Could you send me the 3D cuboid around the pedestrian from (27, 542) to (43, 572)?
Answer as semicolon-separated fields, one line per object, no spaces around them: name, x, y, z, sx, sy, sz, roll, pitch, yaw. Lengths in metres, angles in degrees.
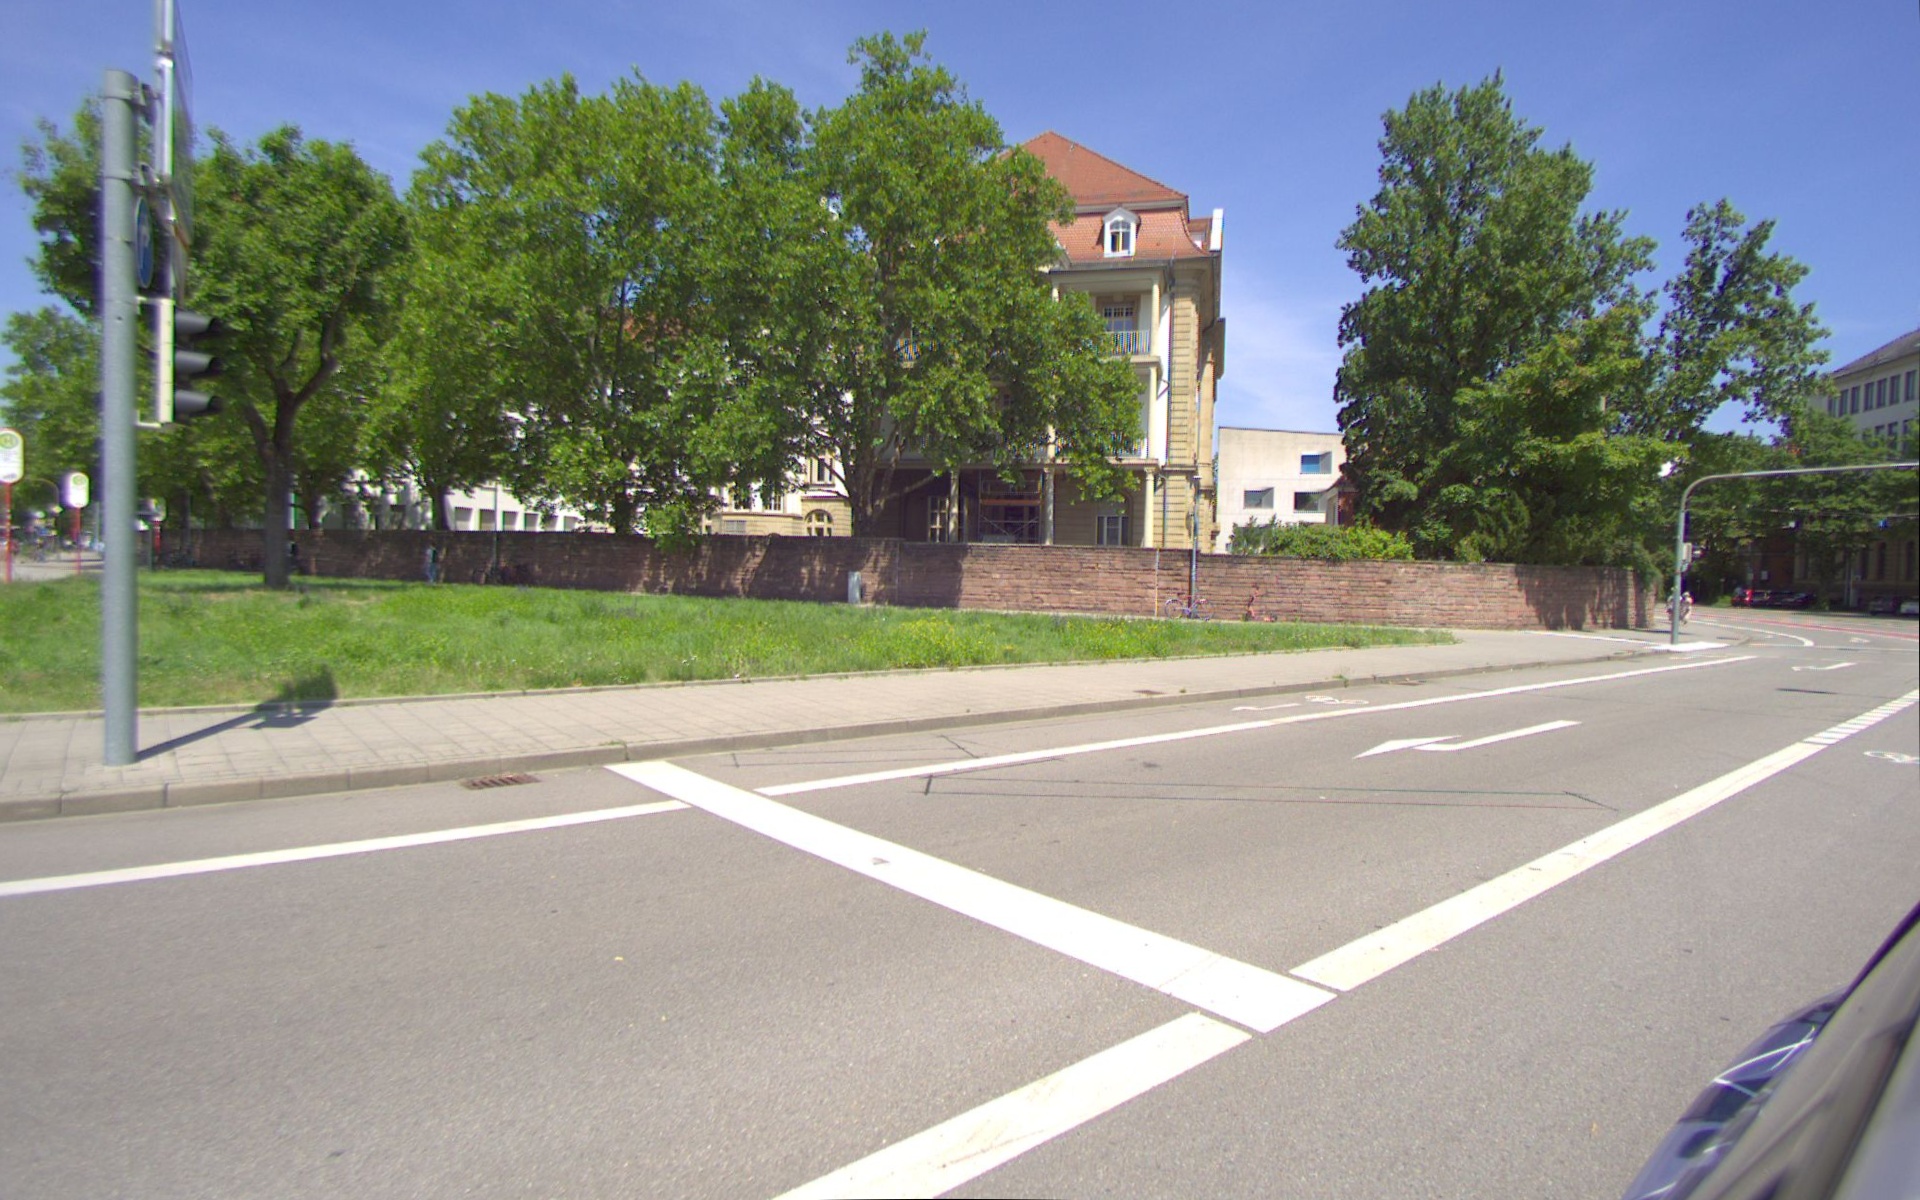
pedestrian;-64.993;-3.025;71.112;0.775;2.039;0.839;0;0;-40

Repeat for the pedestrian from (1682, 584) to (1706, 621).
pedestrian;32.832;0.099;45.287;0.597;1.631;0.555;4;1;18

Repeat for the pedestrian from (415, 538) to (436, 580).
pedestrian;-22.350;-1.698;42.335;0.521;1.743;0.584;0;0;25

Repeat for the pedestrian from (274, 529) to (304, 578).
pedestrian;-32.042;-2.199;48.312;1.067;2.320;0.840;0;0;32

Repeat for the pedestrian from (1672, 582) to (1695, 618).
pedestrian;33.605;0.005;47.000;0.597;1.631;0.555;4;1;18

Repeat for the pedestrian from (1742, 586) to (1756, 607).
pedestrian;65.182;-0.301;83.620;0.715;1.691;0.640;2;2;20

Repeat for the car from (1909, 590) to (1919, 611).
car;65.255;0.027;66.940;3.484;1.438;1.572;0;0;-1

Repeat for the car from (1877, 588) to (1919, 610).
car;65.443;-0.093;69.769;3.088;1.481;1.573;0;0;-3

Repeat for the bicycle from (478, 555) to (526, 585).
bicycle;-18.896;-1.219;41.711;2.144;1.197;0.454;0;0;22

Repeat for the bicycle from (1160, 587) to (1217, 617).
bicycle;7.466;0.062;33.119;1.743;0.940;0.678;0;0;5

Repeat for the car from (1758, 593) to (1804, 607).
car;69.222;0.012;85.353;2.931;1.113;1.282;0;0;-3

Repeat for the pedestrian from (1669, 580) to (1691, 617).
pedestrian;34.696;-0.093;48.746;0.597;1.733;0.555;4;1;16

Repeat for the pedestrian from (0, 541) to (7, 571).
pedestrian;-65.819;-3.002;69.434;0.540;2.039;0.536;0;0;-39

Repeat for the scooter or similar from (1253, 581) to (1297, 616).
scooter or similar;10.339;-0.048;33.197;1.323;1.122;0.375;0;0;-2

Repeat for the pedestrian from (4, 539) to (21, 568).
pedestrian;-65.877;-3.225;70.346;0.775;2.039;0.963;0;0;-40

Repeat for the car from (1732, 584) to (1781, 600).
car;70.523;-0.719;89.611;3.504;1.471;1.619;0;0;-13
